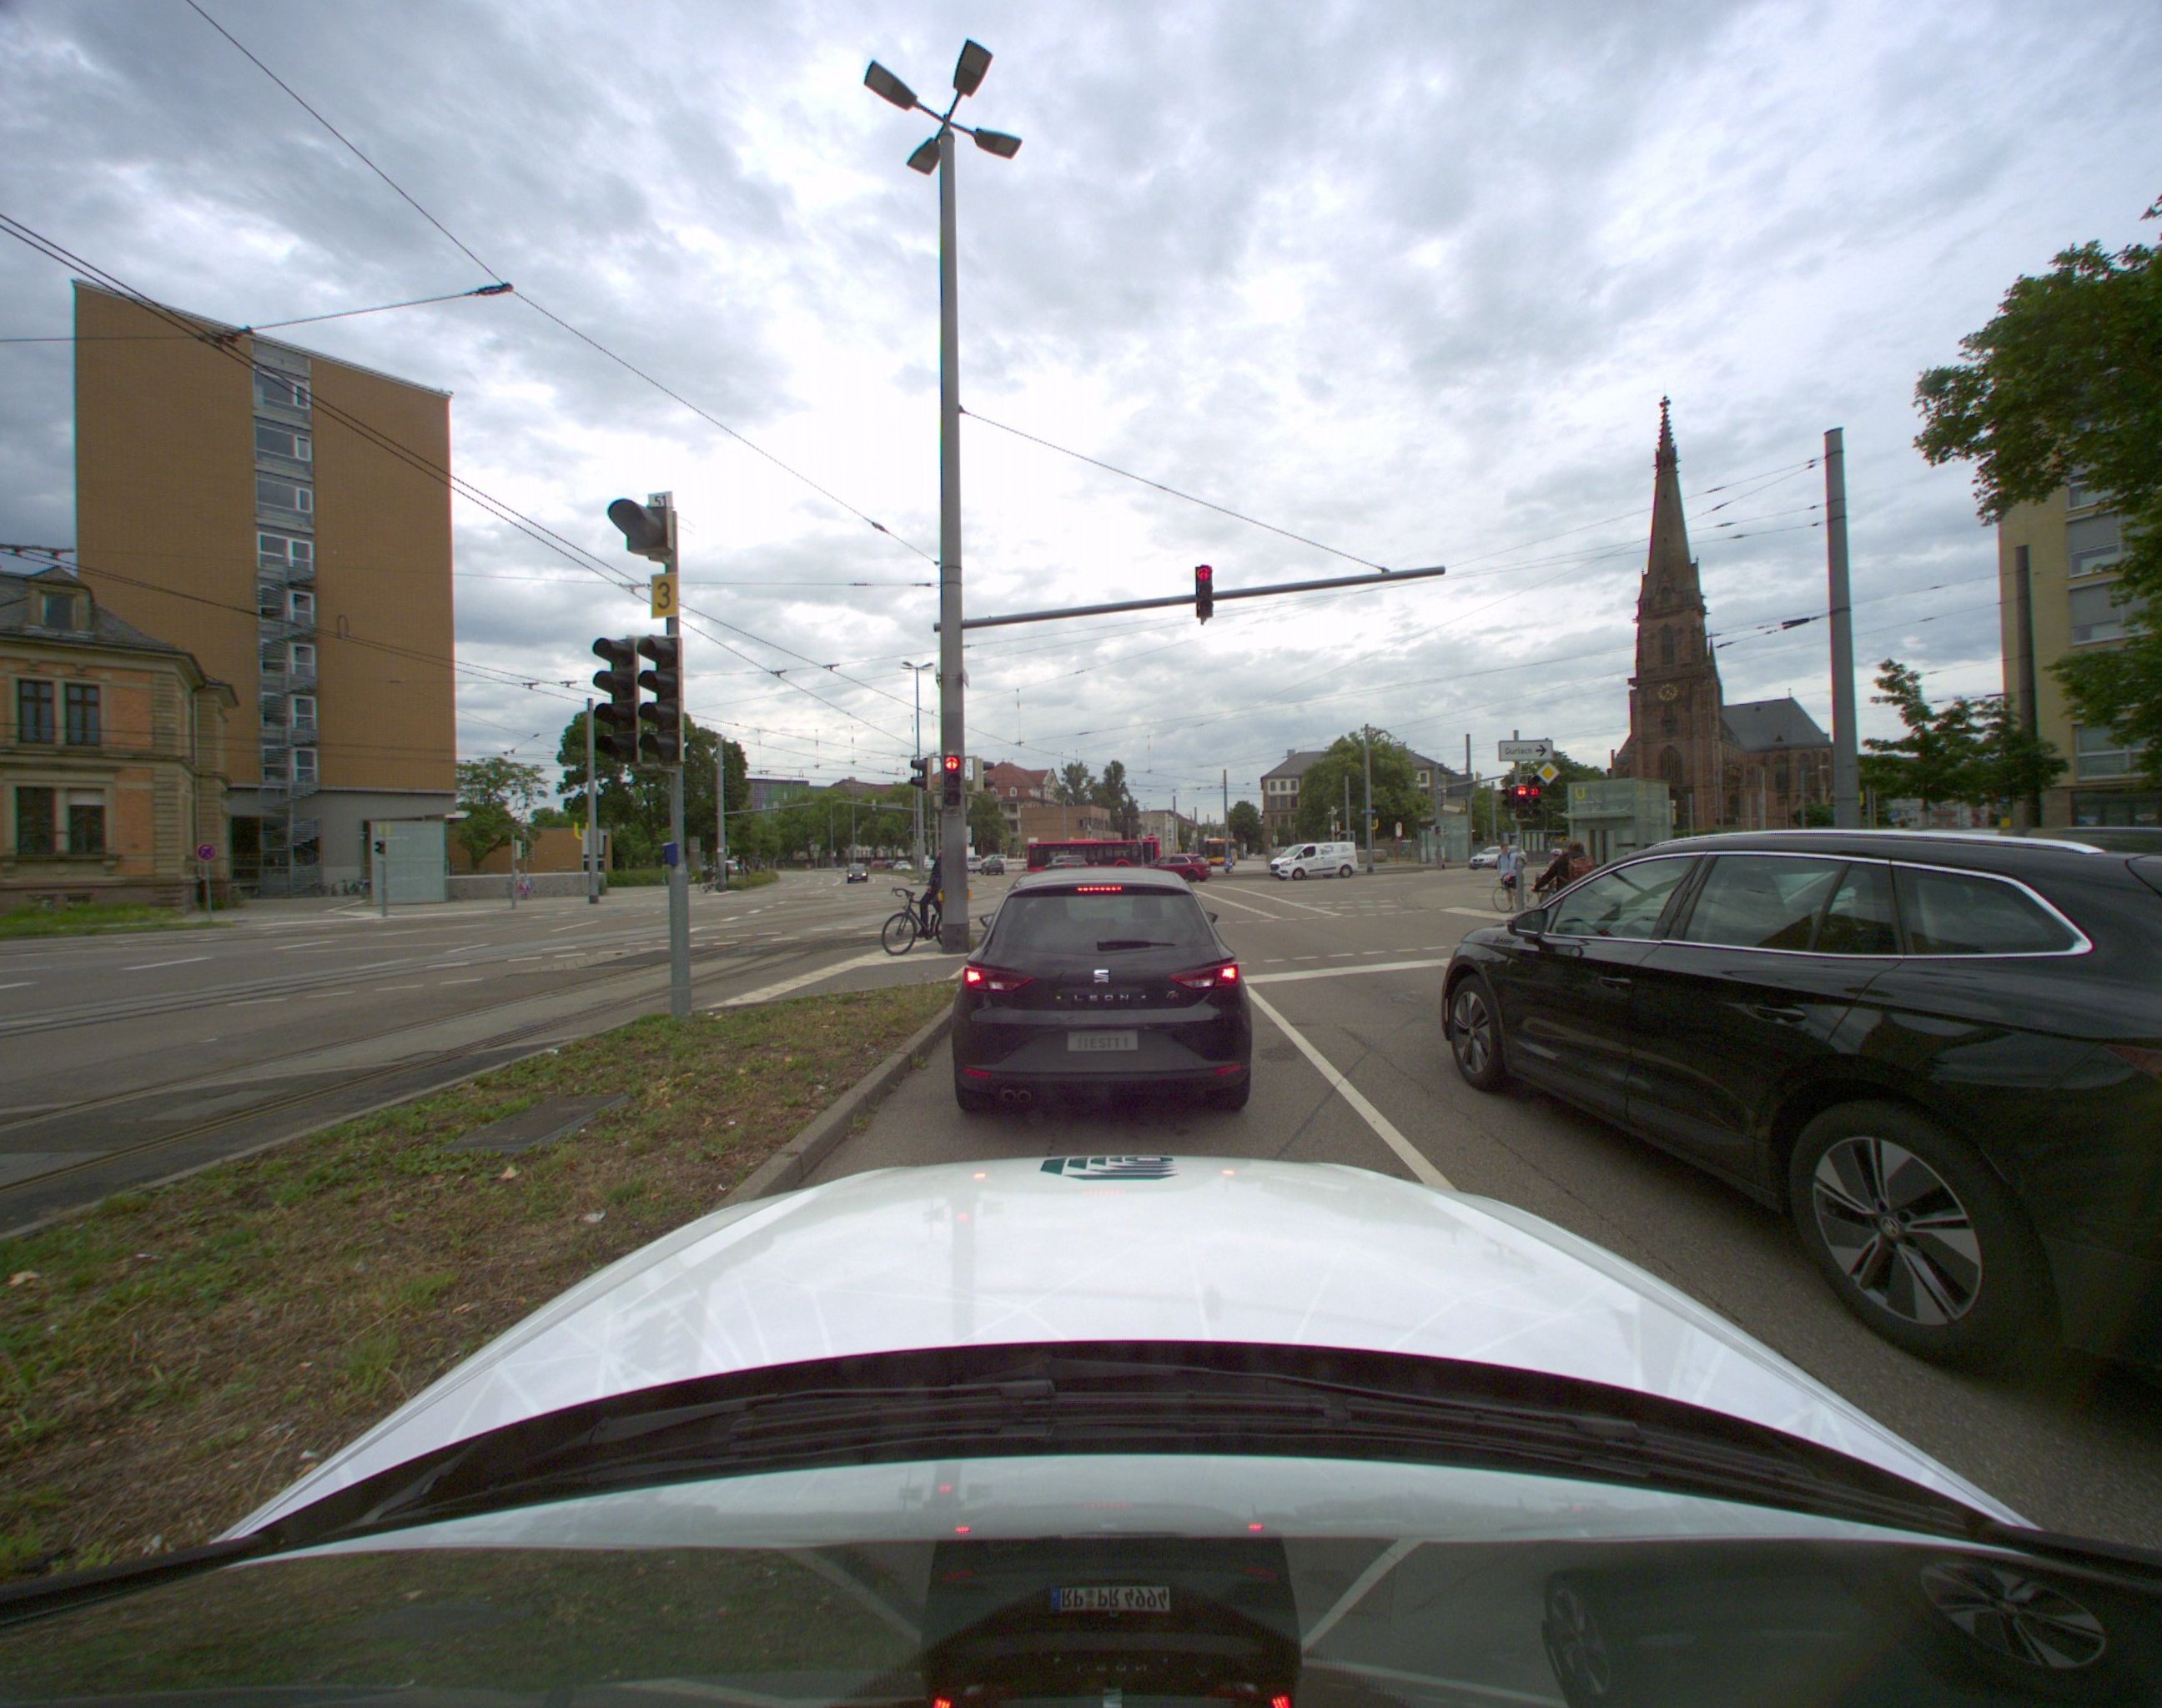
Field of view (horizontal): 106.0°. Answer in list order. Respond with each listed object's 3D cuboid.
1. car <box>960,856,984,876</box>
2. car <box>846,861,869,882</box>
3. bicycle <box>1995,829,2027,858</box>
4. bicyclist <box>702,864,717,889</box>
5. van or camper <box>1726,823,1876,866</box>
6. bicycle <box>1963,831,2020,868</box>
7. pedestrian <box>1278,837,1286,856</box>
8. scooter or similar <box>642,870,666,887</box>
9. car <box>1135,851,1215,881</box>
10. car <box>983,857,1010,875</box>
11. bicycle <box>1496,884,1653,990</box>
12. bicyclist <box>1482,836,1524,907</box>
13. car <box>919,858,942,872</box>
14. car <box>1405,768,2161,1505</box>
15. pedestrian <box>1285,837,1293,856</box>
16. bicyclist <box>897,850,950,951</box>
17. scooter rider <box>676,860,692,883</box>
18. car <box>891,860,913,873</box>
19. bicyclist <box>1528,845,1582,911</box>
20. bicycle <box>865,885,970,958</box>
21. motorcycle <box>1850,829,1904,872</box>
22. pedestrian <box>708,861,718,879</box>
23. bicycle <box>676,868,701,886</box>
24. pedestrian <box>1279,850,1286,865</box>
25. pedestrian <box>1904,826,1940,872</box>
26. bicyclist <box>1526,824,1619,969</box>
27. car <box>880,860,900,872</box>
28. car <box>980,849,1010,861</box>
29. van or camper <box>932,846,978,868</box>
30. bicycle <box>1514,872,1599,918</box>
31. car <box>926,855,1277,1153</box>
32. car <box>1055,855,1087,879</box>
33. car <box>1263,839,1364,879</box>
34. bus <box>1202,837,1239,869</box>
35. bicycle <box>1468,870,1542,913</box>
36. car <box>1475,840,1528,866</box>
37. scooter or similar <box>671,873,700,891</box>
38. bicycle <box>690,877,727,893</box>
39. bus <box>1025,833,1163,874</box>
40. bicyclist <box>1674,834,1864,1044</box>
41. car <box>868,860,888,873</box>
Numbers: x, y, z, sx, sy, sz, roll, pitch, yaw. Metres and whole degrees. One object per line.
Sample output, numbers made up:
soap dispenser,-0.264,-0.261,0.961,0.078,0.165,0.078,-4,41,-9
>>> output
car,-11.751,1.299,87.849,1.997,2.013,3.979,-1,0,-15
car,-18.255,1.404,66.407,1.622,1.515,3.644,-3,0,-17
bicycle,40.820,-0.461,35.729,2.048,1.169,0.663,-2,0,-34
bicyclist,-24.925,1.508,54.649,0.815,1.656,0.789,2,-1,-19
van or camper,37.480,-0.475,42.585,5.402,1.978,2.183,-2,0,20
bicycle,36.110,-0.201,32.288,2.792,1.377,0.895,-2,0,-29
pedestrian,44.842,-1.655,181.977,1.381,4.253,1.347,-2,0,2
scooter or similar,-36.089,2.052,68.835,1.781,1.302,0.624,-2,0,-30
car,5.400,0.711,46.863,4.152,1.600,1.875,-2,0,26
car,-8.052,1.109,77.167,1.996,1.539,3.981,-1,0,-14
bicycle,6.002,0.956,10.065,0.623,1.055,2.125,-2,0,0
bicyclist,10.828,0.441,20.893,0.736,1.751,0.581,-2,0,-25
car,-19.666,1.384,106.160,2.003,1.750,3.968,-1,0,-24
car,3.364,0.609,3.782,1.897,1.658,4.514,-2,0,0
pedestrian,46.426,-1.619,181.762,1.302,4.253,1.347,-2,0,2
bicyclist,-2.637,0.762,13.644,0.658,1.639,0.512,-2,-1,-38
scooter rider,-28.105,1.253,57.668,0.562,1.627,0.826,-2,0,23
car,-23.160,1.606,105.010,2.003,1.640,3.968,-1,0,-24
bicyclist,11.187,0.555,19.236,0.886,1.522,0.668,-1,0,-19
bicycle,-2.706,1.090,13.579,1.622,1.070,0.522,-2,-1,-38
motorcycle,27.125,-0.139,27.730,2.304,1.366,1.035,-3,0,-40
pedestrian,-36.064,1.565,79.784,0.747,1.733,0.683,-2,0,-13
bicycle,-34.447,2.021,71.544,0.842,1.449,2.259,-2,0,7
pedestrian,25.040,0.390,101.229,0.817,1.853,1.026,-2,0,18
pedestrian,33.149,-0.195,32.106,0.910,1.737,0.805,-2,0,-33
bicyclist,5.980,0.495,9.942,0.613,1.690,0.806,-2,0,-1
car,-29.143,1.790,124.203,2.004,1.750,3.965,-1,0,-26
car,-15.242,0.189,144.619,5.033,1.864,1.975,-2,-3,-42
van or camper,-21.469,0.470,139.056,7.193,3.332,2.841,-2,-1,-43
bicycle,11.246,0.953,19.273,1.946,0.998,0.598,-1,0,-19
car,0.166,0.757,6.084,1.739,1.464,4.002,-1,0,2
car,-0.640,0.855,56.532,1.986,1.566,4.206,-2,0,1
car,12.822,0.274,44.966,5.027,2.019,1.988,-2,0,-17
bus,16.238,-0.138,94.083,2.994,3.268,13.093,-2,0,14
bicycle,10.898,0.942,20.913,1.996,0.998,0.575,-2,-1,-26
car,27.338,-0.071,52.864,1.704,1.482,4.656,-2,0,45
scooter or similar,-28.059,1.958,57.740,0.567,1.165,1.917,-2,0,23
bicycle,-24.978,2.061,54.613,2.119,1.028,0.790,1,1,-19
bus,1.194,-0.028,74.709,12.293,3.298,3.069,-1,-1,1
bicyclist,5.653,0.657,6.755,0.786,1.618,0.933,0,0,1
car,-29.509,1.819,118.245,2.003,1.772,3.967,-1,0,-25
